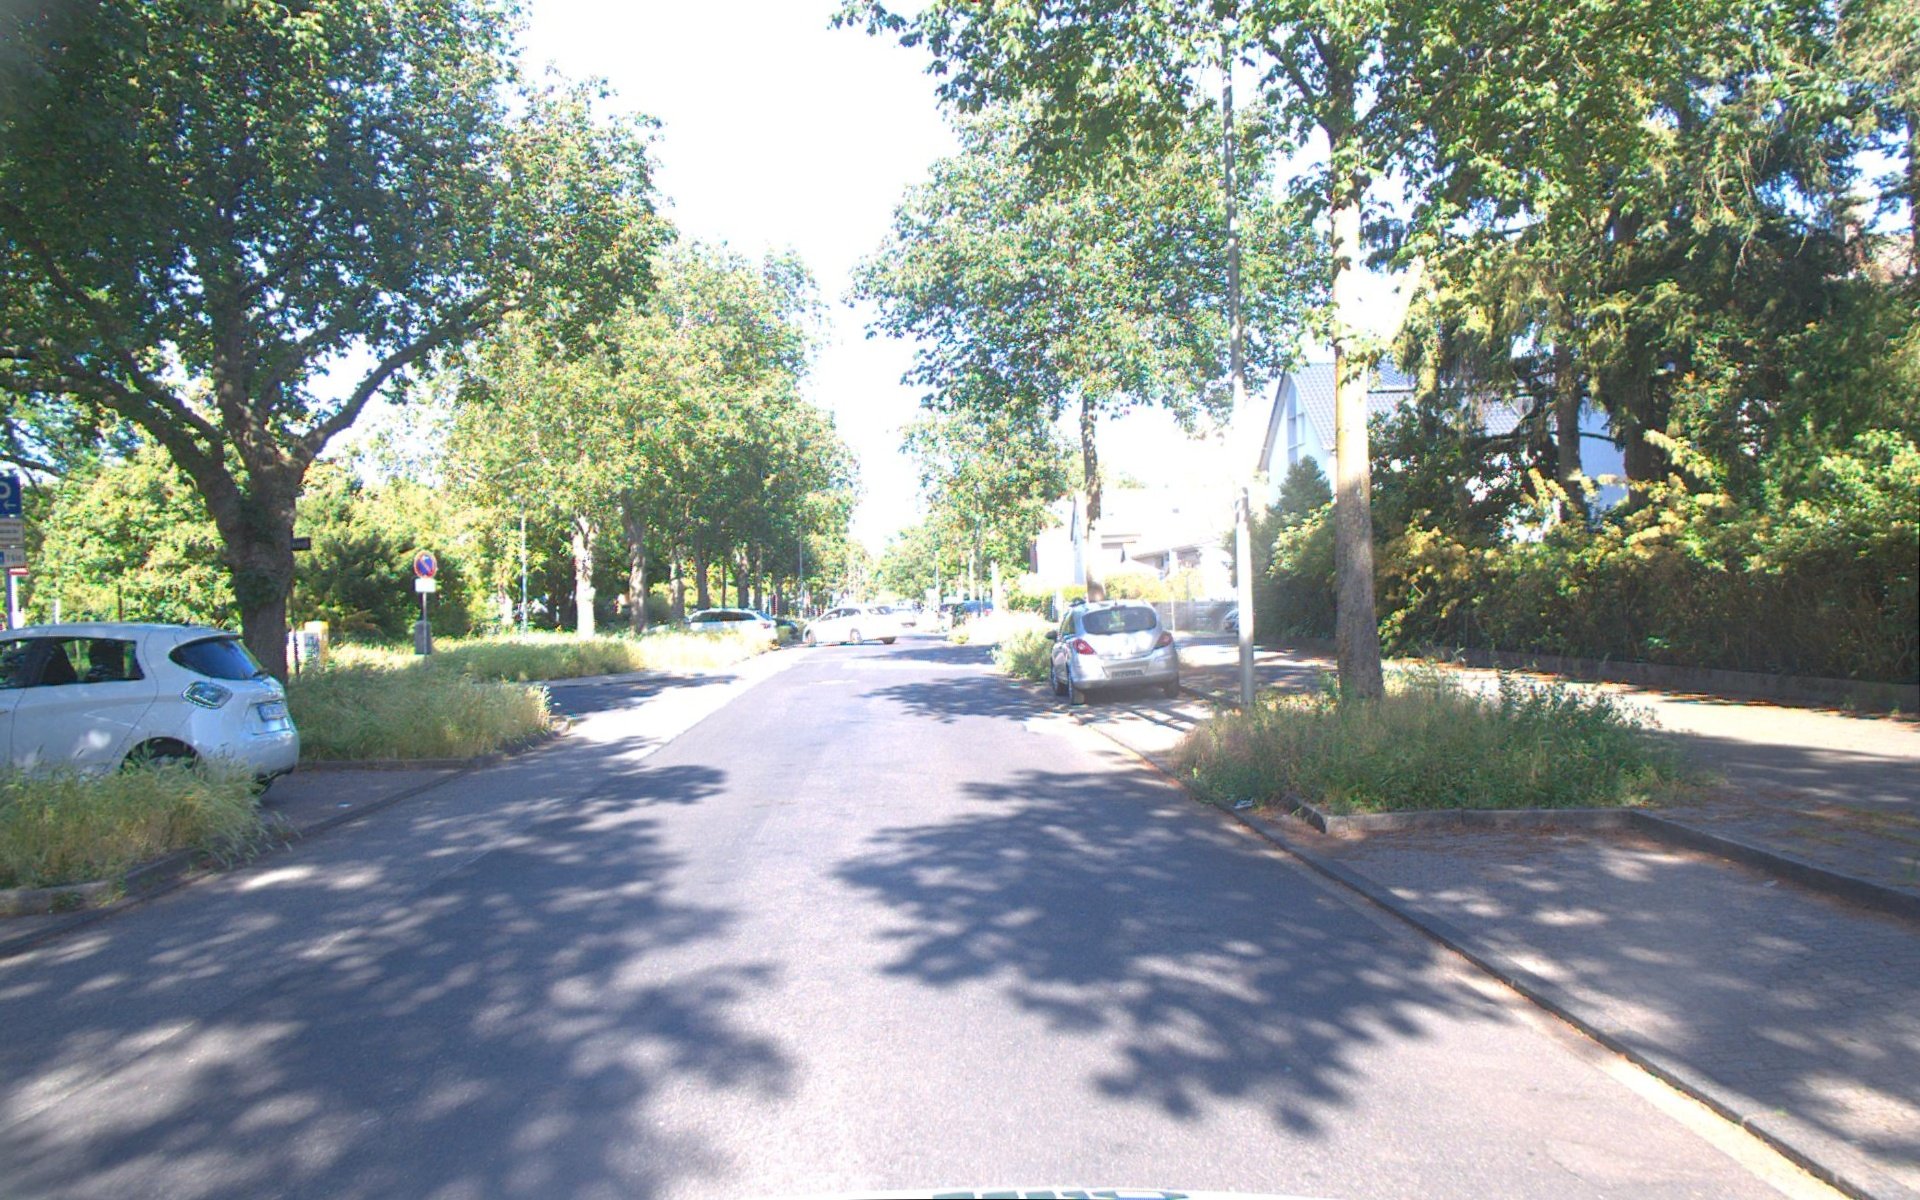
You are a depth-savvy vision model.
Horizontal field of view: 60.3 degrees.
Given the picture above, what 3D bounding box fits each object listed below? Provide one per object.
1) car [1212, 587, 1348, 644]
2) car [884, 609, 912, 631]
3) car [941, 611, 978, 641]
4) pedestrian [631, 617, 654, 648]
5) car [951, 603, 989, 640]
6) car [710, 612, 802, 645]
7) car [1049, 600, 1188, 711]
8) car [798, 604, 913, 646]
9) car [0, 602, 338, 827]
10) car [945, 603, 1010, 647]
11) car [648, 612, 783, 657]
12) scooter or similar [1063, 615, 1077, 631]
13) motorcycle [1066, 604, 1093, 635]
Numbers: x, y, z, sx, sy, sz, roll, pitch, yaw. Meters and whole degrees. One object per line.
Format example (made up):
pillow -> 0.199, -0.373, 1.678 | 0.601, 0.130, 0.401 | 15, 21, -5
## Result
car -> 10.282, 0.496, 53.255 | 3.913, 1.668, 1.773 | -2, 0, -9
car -> -4.582, 1.465, 121.706 | 1.954, 1.534, 3.656 | 2, -1, -3
car -> -0.023, 1.677, 105.245 | 1.955, 1.758, 3.996 | -3, -1, -5
pedestrian -> -19.813, 2.029, 103.089 | 1.206, 1.859, 1.542 | 1, -2, -19
car -> 0.429, 1.005, 78.193 | 1.578, 1.650, 4.379 | 2, -1, -2
car -> -9.784, 1.369, 79.627 | 4.280, 1.558, 1.806 | 0, -1, -4
car -> 2.472, 0.855, 26.216 | 1.952, 1.537, 4.002 | -3, -1, 4
car -> -3.916, 0.959, 61.731 | 4.150, 1.480, 1.987 | -2, -1, 43
car -> -7.461, 0.900, 13.658 | 3.908, 1.690, 1.965 | -1, 0, -4
car -> 0.668, 1.015, 66.452 | 1.956, 1.650, 4.373 | 2, -1, -8
car -> -8.811, 1.237, 59.890 | 4.576, 1.530, 1.999 | -1, -1, -1
scooter or similar -> 6.182, 1.302, 93.120 | 0.362, 0.873, 1.406 | 1, -1, -15
motorcycle -> 4.999, 0.812, 69.161 | 0.801, 1.248, 2.350 | -3, 0, -3
